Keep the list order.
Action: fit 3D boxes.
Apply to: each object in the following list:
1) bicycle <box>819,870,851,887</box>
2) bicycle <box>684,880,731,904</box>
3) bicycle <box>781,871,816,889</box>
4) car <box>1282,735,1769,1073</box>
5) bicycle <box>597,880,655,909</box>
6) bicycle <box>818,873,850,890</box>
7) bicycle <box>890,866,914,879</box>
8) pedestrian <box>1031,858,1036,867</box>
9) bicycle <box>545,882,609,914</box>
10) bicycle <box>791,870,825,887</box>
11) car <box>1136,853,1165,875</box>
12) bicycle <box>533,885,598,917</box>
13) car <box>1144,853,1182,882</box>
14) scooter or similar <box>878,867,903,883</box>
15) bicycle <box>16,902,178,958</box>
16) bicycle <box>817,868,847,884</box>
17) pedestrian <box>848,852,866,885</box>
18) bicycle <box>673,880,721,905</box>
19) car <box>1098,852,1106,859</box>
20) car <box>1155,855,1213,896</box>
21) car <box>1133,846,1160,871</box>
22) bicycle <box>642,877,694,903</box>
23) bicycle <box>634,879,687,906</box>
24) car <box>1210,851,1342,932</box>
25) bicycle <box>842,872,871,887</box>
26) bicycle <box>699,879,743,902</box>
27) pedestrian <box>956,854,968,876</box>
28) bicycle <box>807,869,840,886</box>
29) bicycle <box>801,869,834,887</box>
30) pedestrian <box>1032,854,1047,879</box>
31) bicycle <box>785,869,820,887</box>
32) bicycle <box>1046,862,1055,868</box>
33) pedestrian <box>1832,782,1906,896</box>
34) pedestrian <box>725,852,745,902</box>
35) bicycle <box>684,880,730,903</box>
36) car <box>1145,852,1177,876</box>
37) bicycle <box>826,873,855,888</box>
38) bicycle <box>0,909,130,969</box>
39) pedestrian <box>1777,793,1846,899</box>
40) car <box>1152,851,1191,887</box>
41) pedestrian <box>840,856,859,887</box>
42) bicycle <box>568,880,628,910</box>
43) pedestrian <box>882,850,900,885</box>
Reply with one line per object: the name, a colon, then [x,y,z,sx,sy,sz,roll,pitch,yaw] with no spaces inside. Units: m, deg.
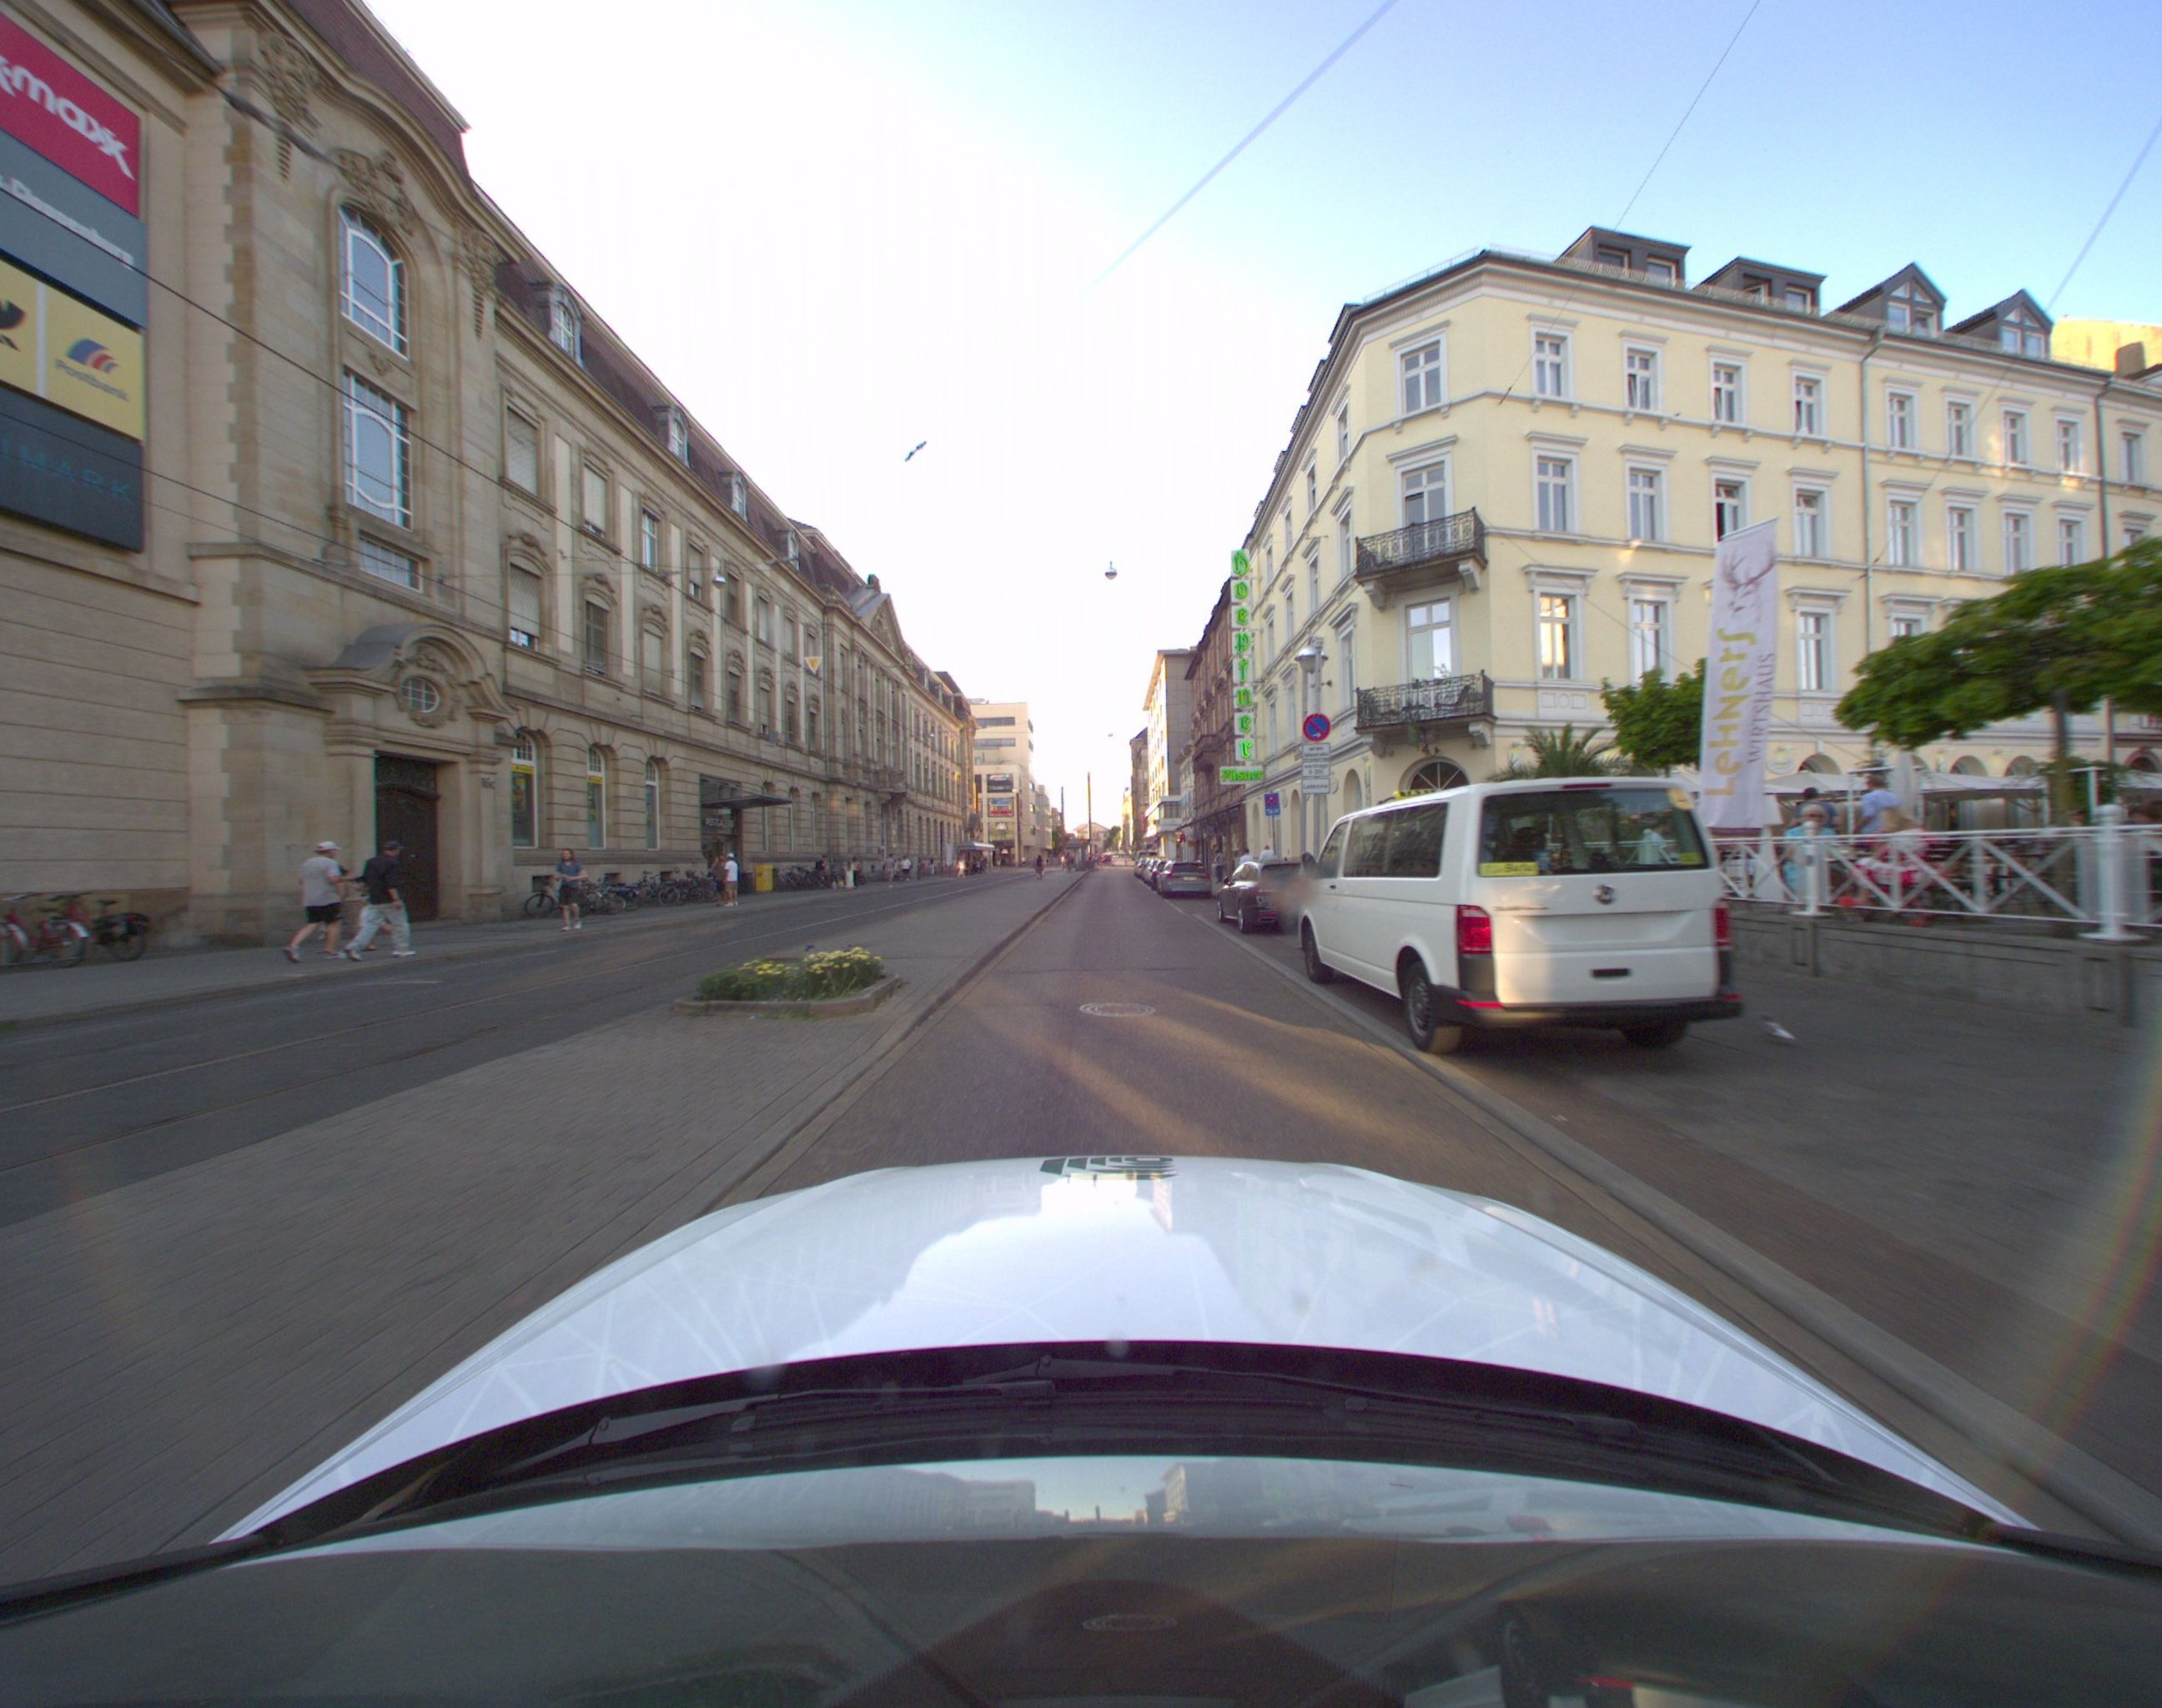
bicycle: [-13.089,1.292,43.336,1.567,0.874,0.451,0,-1,6]
bicycle: [-13.948,1.410,30.388,1.567,0.874,0.451,0,-1,6]
bicycle: [-13.756,1.284,39.620,1.567,0.874,0.451,0,-1,6]
car: [3.430,0.342,7.725,1.845,2.067,5.217,-2,-1,2]
bicycle: [-13.988,1.246,25.042,1.567,0.874,0.451,0,-1,6]
bicycle: [-13.367,1.495,44.076,1.567,0.874,0.451,0,-1,6]
bicycle: [-12.360,1.283,56.334,1.567,0.874,0.451,0,-1,6]
pedestrian: [-8.448,1.492,144.996,0.644,1.674,0.531,-2,-1,9]
bicycle: [-14.354,1.242,23.198,1.567,0.874,0.451,0,-1,6]
bicycle: [-13.691,1.217,40.807,1.567,0.874,0.451,0,-1,6]
car: [4.962,0.711,58.929,1.799,1.483,4.779,1,0,1]
bicycle: [-14.339,1.296,22.657,1.567,0.874,0.451,0,-1,6]
car: [4.499,0.747,45.323,1.726,1.511,4.866,1,-1,1]
scooter or similar: [-12.721,1.409,54.347,1.539,1.068,0.451,0,-1,6]
bicycle: [-16.080,1.233,13.338,1.829,0.868,0.635,0,-1,-1]
bicycle: [-13.834,1.228,45.242,1.567,0.874,0.451,0,-1,6]
pedestrian: [-11.529,0.739,41.917,0.690,1.712,0.815,-1,-1,1]
bicycle: [-13.853,1.395,29.391,1.567,0.874,0.451,0,-1,6]
car: [5.340,0.408,206.527,1.986,1.904,4.000,0,-1,1]
car: [4.003,0.780,32.293,1.799,1.475,4.694,0,0,1]
car: [5.212,0.411,65.446,1.870,1.923,4.700,1,-1,1]
bicycle: [-14.217,1.226,28.046,1.567,0.874,0.451,0,-1,6]
bicycle: [-14.065,1.278,27.261,1.567,0.874,0.451,0,-1,6]
car: [3.858,0.705,16.869,1.690,1.390,4.548,-3,-1,1]
bicycle: [-13.425,1.535,48.727,1.567,0.874,0.451,0,-1,6]
bicycle: [-14.144,1.434,32.021,1.567,0.874,0.451,0,-1,6]
pedestrian: [-8.507,0.760,58.202,0.657,1.562,0.680,-1,-1,1]
bicycle: [-13.456,1.217,42.582,1.567,0.874,0.451,0,-1,6]
bicycle: [-13.584,1.235,41.947,1.567,0.874,0.451,0,-1,6]
pedestrian: [-2.602,0.772,51.160,0.843,1.501,0.901,-1,-1,1]
bicycle: [-13.767,1.191,40.269,1.567,0.874,0.451,0,-1,6]
bicycle: [-5.797,2.005,153.697,1.689,1.122,0.451,0,-1,3]
pedestrian: [12.016,-0.226,12.433,0.588,1.697,0.531,-1,0,-6]
pedestrian: [-11.649,0.768,27.393,0.371,1.631,0.496,-1,-2,41]
bicycle: [-14.373,1.424,31.307,1.567,0.874,0.451,0,-1,6]
car: [5.206,0.658,53.430,1.720,1.477,4.821,0,-1,1]
bicycle: [-13.824,1.518,46.861,1.567,0.874,0.451,0,-1,6]
bicycle: [-16.033,1.310,12.612,1.829,0.868,0.635,0,-1,-1]
pedestrian: [11.335,-0.123,12.649,0.551,1.608,0.531,-1,0,-6]
car: [4.292,0.716,39.243,1.725,1.590,4.447,1,-1,5]
pedestrian: [-11.133,0.825,39.180,0.690,1.466,0.556,-1,-1,1]
bicycle: [-14.298,1.209,24.118,1.567,0.874,0.451,0,-1,6]
pedestrian: [-9.879,0.702,42.407,0.690,1.813,0.815,-1,-1,1]
